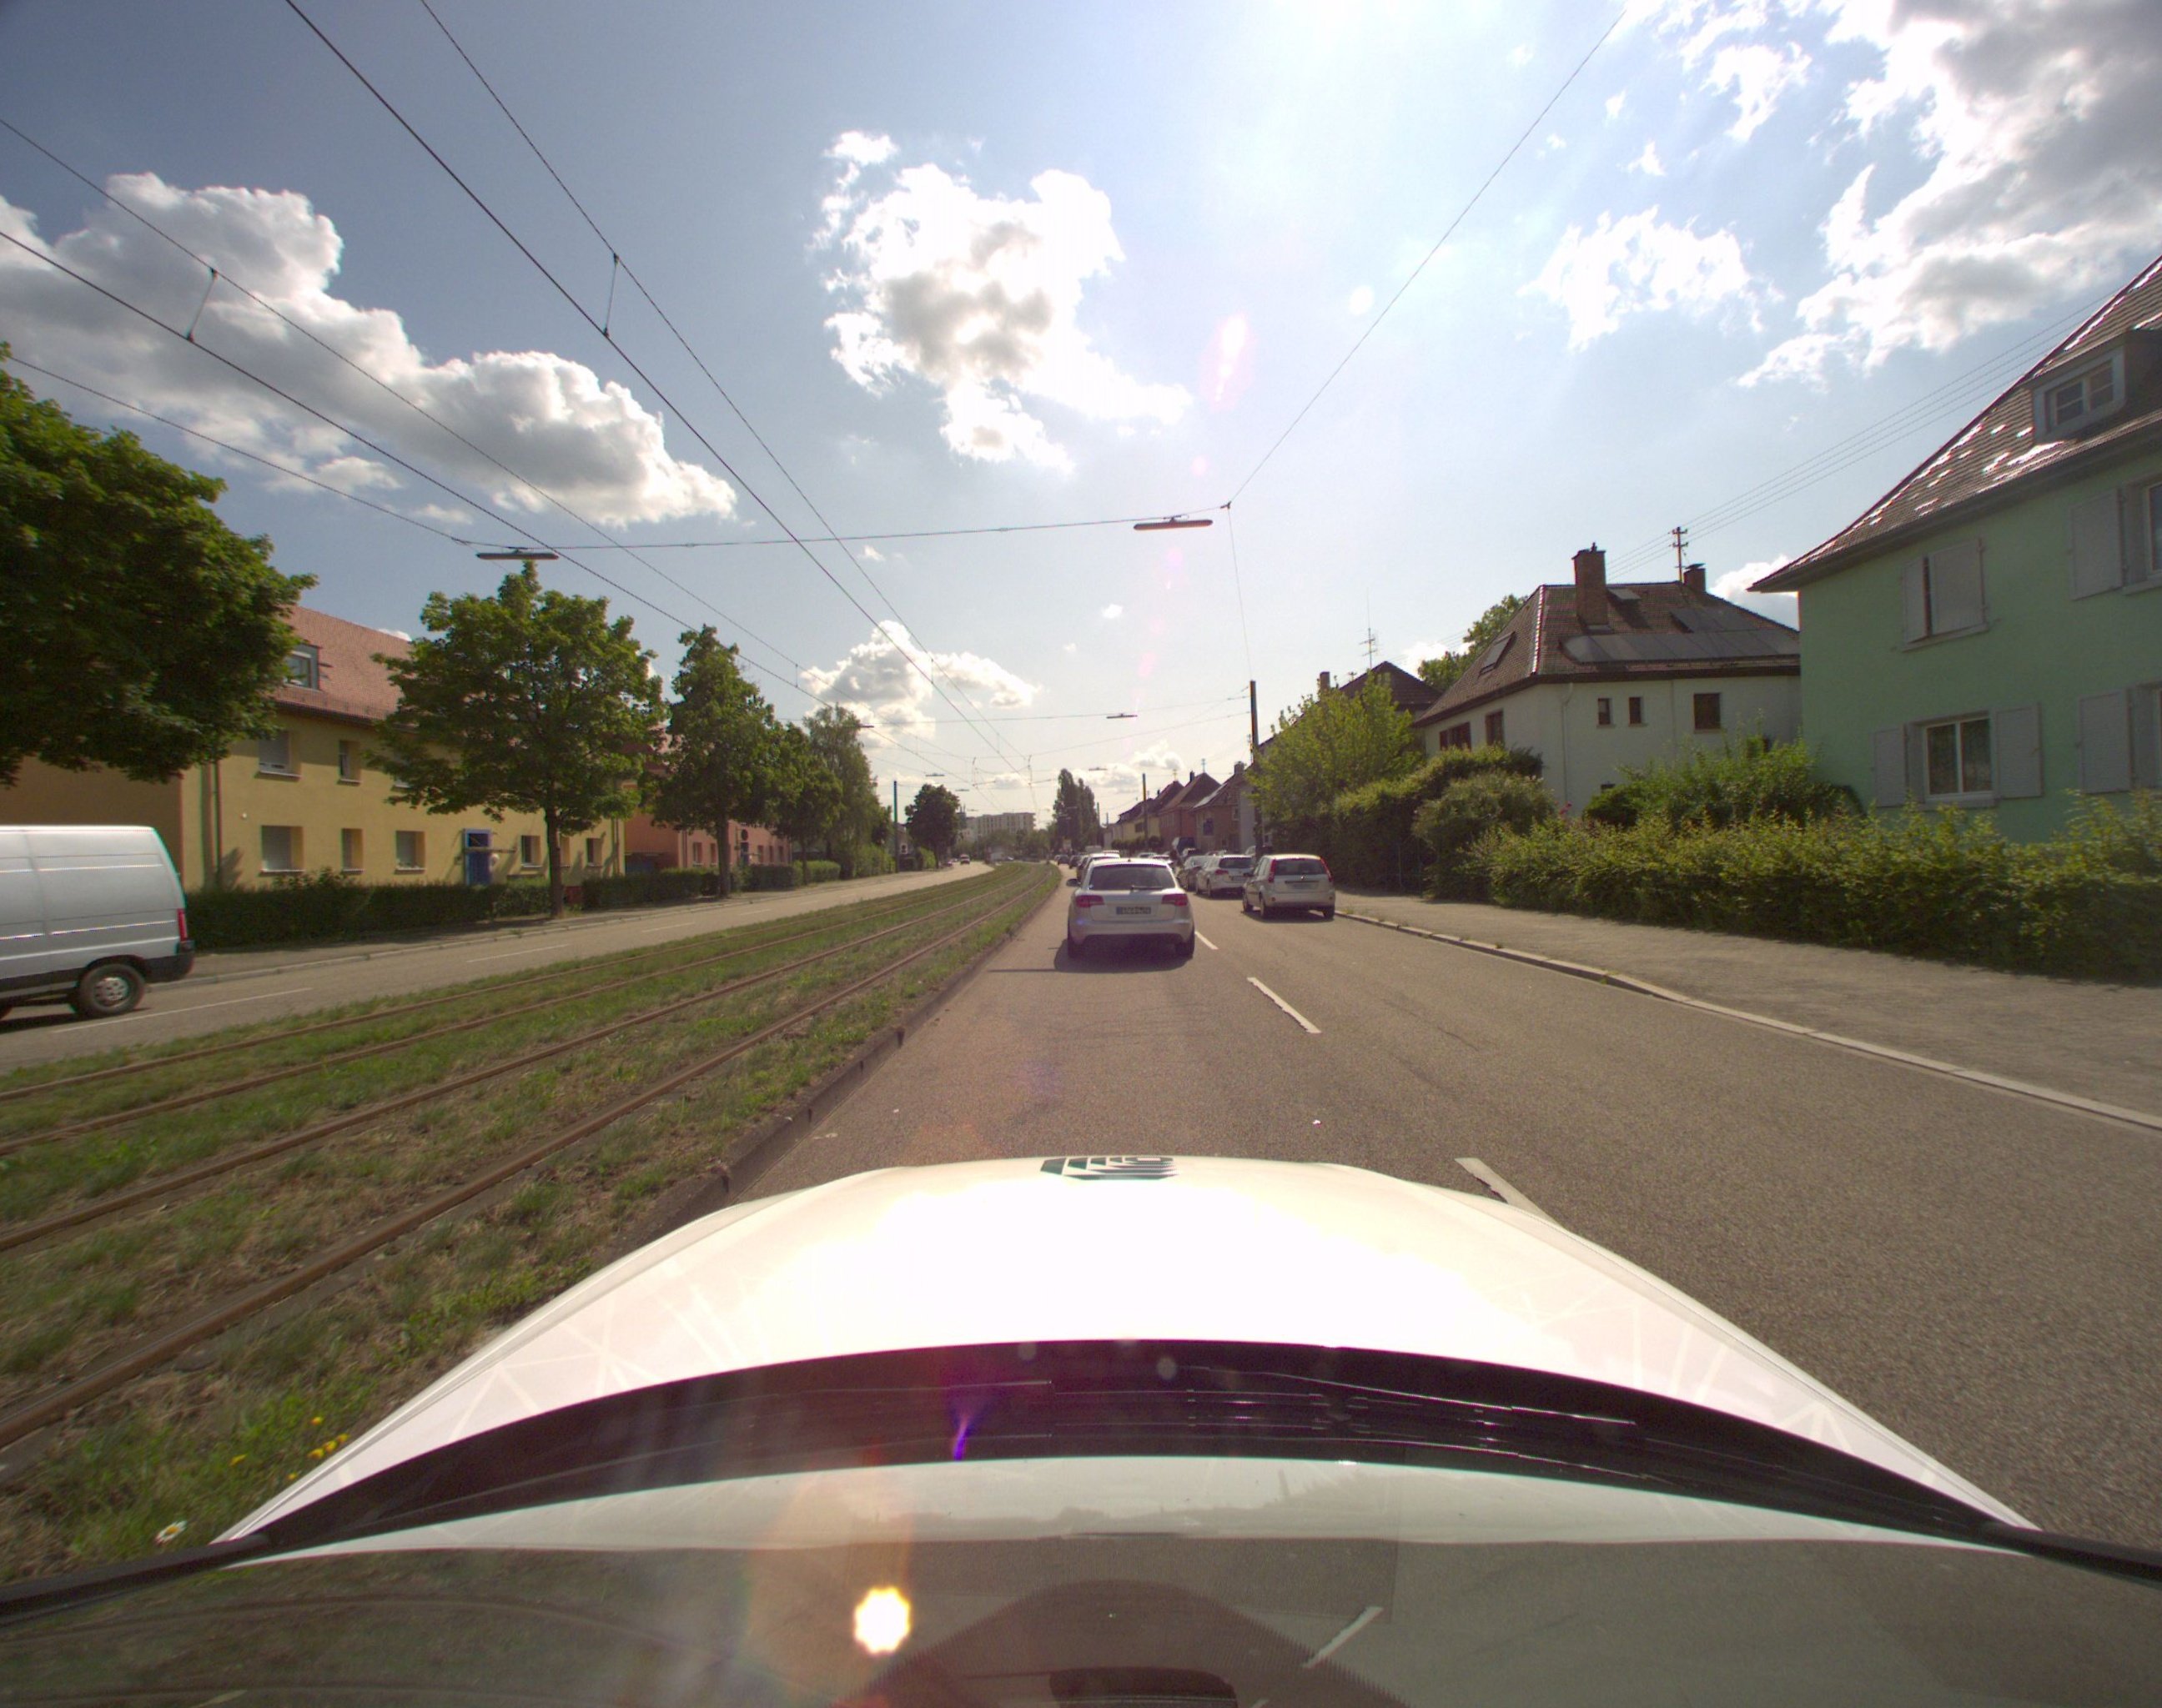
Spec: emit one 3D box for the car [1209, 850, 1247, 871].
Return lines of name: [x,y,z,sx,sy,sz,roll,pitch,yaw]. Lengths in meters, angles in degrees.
car: [10.935,0.453,60.886,1.794,1.423,4.854,-3,0,-2]

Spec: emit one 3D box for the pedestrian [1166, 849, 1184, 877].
pedestrian: [6.761,0.629,58.888,1.109,1.946,1.091,-2,-1,-2]

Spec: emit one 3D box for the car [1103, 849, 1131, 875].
car: [2.609,0.582,59.397,1.878,1.731,4.096,-2,0,2]

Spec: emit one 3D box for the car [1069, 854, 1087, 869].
car: [-0.316,0.819,87.337,1.879,1.530,4.092,0,-1,-1]

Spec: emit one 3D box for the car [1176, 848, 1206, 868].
car: [10.357,0.360,76.900,1.832,1.711,4.859,-3,0,-3]

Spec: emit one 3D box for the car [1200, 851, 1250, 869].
car: [11.771,0.529,66.708,3.642,1.380,1.724,-1,-1,-4]

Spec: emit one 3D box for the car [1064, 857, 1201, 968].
car: [0.739,0.810,13.398,1.848,1.492,4.536,-1,0,1]

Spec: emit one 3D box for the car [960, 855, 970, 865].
car: [-27.683,1.481,194.667,2.194,2.372,5.321,-3,-1,-6]

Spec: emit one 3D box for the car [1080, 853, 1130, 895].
car: [0.901,0.756,32.488,1.782,1.577,4.091,0,0,-2]

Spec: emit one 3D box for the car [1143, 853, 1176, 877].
car: [5.099,0.707,53.200,1.808,1.454,4.644,0,-1,1]

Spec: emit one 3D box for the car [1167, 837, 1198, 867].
car: [10.316,-0.189,83.154,2.146,2.930,6.239,0,-1,-2]

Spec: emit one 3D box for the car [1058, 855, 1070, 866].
car: [-2.509,0.962,120.873,1.879,1.530,4.092,0,-1,-1]

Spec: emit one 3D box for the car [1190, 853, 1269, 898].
car: [5.239,0.745,29.356,1.884,1.455,5.004,0,-1,-1]

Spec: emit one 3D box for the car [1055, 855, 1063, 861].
car: [-5.640,0.978,206.055,1.879,1.530,4.092,0,-1,-1]

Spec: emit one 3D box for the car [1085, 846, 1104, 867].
car: [1.666,0.311,99.684,2.035,2.557,5.227,-1,0,-2]

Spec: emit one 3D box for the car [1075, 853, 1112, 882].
car: [0.660,0.715,44.922,1.879,1.466,4.093,-2,0,-1]

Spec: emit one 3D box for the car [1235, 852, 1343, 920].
car: [4.972,0.731,20.019,1.730,1.489,4.096,0,-1,2]

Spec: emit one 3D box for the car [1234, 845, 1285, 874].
car: [11.090,0.346,50.928,1.753,1.647,4.762,-3,-1,-4]

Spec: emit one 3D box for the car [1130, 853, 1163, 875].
car: [4.811,0.727,60.266,1.803,1.559,4.248,0,-1,-3]

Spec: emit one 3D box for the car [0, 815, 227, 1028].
car: [-13.396,0.830,8.792,2.024,2.436,5.780,-4,0,2]

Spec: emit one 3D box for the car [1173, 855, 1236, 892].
car: [5.172,0.764,34.792,1.894,1.443,5.057,0,0,0]

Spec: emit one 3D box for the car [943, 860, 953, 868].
car: [-28.196,2.084,173.173,1.784,1.584,3.923,-1,0,-6]
